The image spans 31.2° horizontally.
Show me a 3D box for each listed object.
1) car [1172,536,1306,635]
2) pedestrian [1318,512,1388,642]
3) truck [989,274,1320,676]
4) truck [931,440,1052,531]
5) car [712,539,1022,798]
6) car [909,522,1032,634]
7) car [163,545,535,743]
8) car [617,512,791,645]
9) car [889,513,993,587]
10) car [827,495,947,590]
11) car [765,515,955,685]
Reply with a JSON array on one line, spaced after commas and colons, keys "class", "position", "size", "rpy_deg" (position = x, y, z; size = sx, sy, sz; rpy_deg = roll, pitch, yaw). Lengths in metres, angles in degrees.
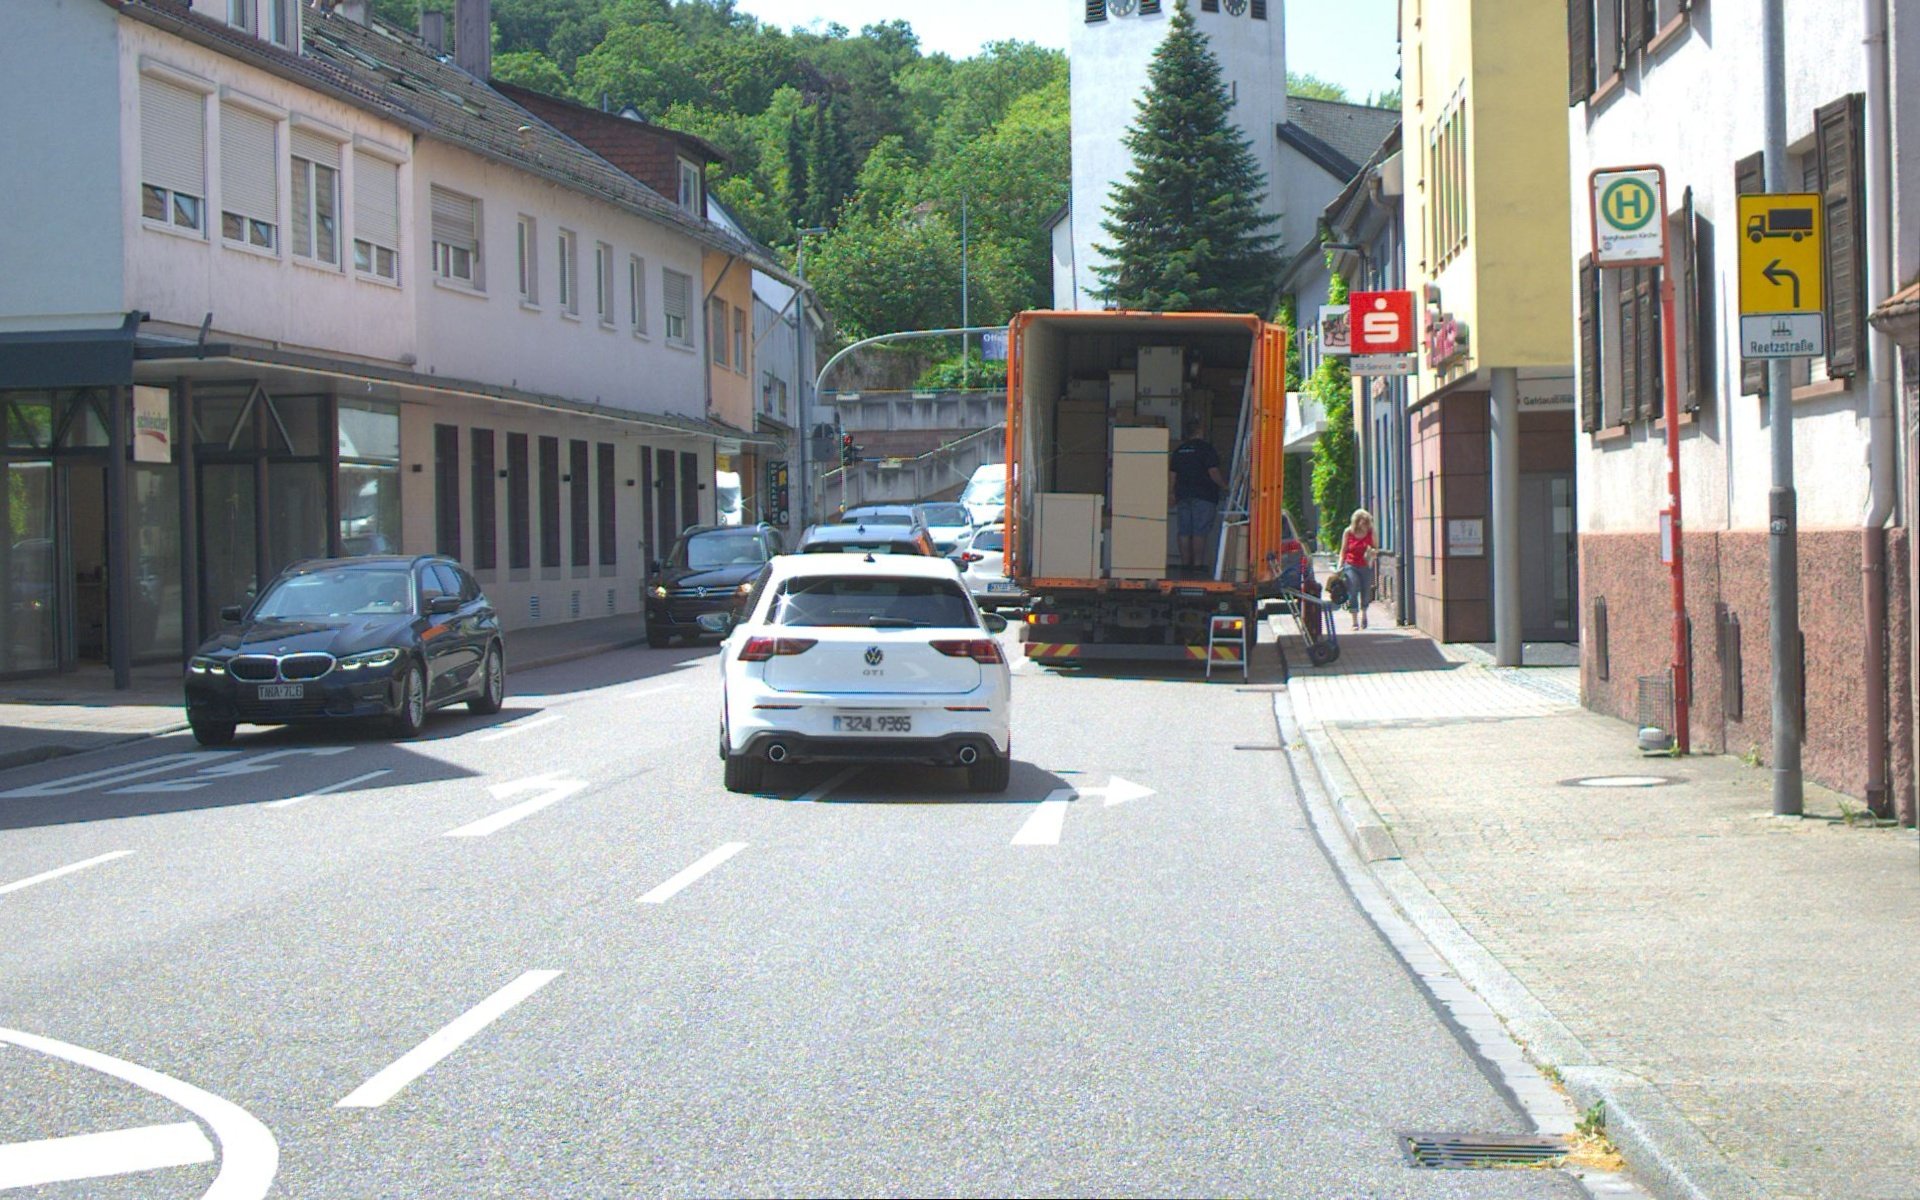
[{"class": "car", "position": [4.536, -0.239, 56.402], "size": [1.815, 1.514, 4.000], "rpy_deg": [-2, 0, 0]}, {"class": "pedestrian", "position": [5.371, -0.316, 47.000], "size": [0.769, 1.736, 0.871], "rpy_deg": [-2, 0, -2]}, {"class": "truck", "position": [2.252, -1.355, 41.257], "size": [3.367, 4.156, 9.518], "rpy_deg": [-2, 0, 2]}, {"class": "truck", "position": [0.959, -3.311, 100.268], "size": [2.119, 2.466, 5.732], "rpy_deg": [-2, 0, 15]}, {"class": "car", "position": [-0.545, 0.390, 22.160], "size": [1.815, 1.514, 4.000], "rpy_deg": [0, 0, 0]}, {"class": "car", "position": [0.159, -0.340, 53.931], "size": [1.815, 1.623, 4.000], "rpy_deg": [-2, 0, 0]}, {"class": "car", "position": [-5.046, 0.326, 29.015], "size": [1.794, 1.487, 4.420], "rpy_deg": [-2, 0, 8]}, {"class": "car", "position": [-3.568, -0.338, 48.554], "size": [1.691, 1.693, 4.111], "rpy_deg": [-2, 2, 6]}, {"class": "car", "position": [-0.432, -1.186, 81.990], "size": [1.994, 1.645, 3.999], "rpy_deg": [-2, 0, 6]}, {"class": "car", "position": [-1.422, -1.167, 68.713], "size": [1.802, 1.773, 4.704], "rpy_deg": [-2, 1, 6]}, {"class": "car", "position": [-0.994, -0.011, 35.992], "size": [1.815, 1.623, 4.000], "rpy_deg": [-2, 0, 0]}]
